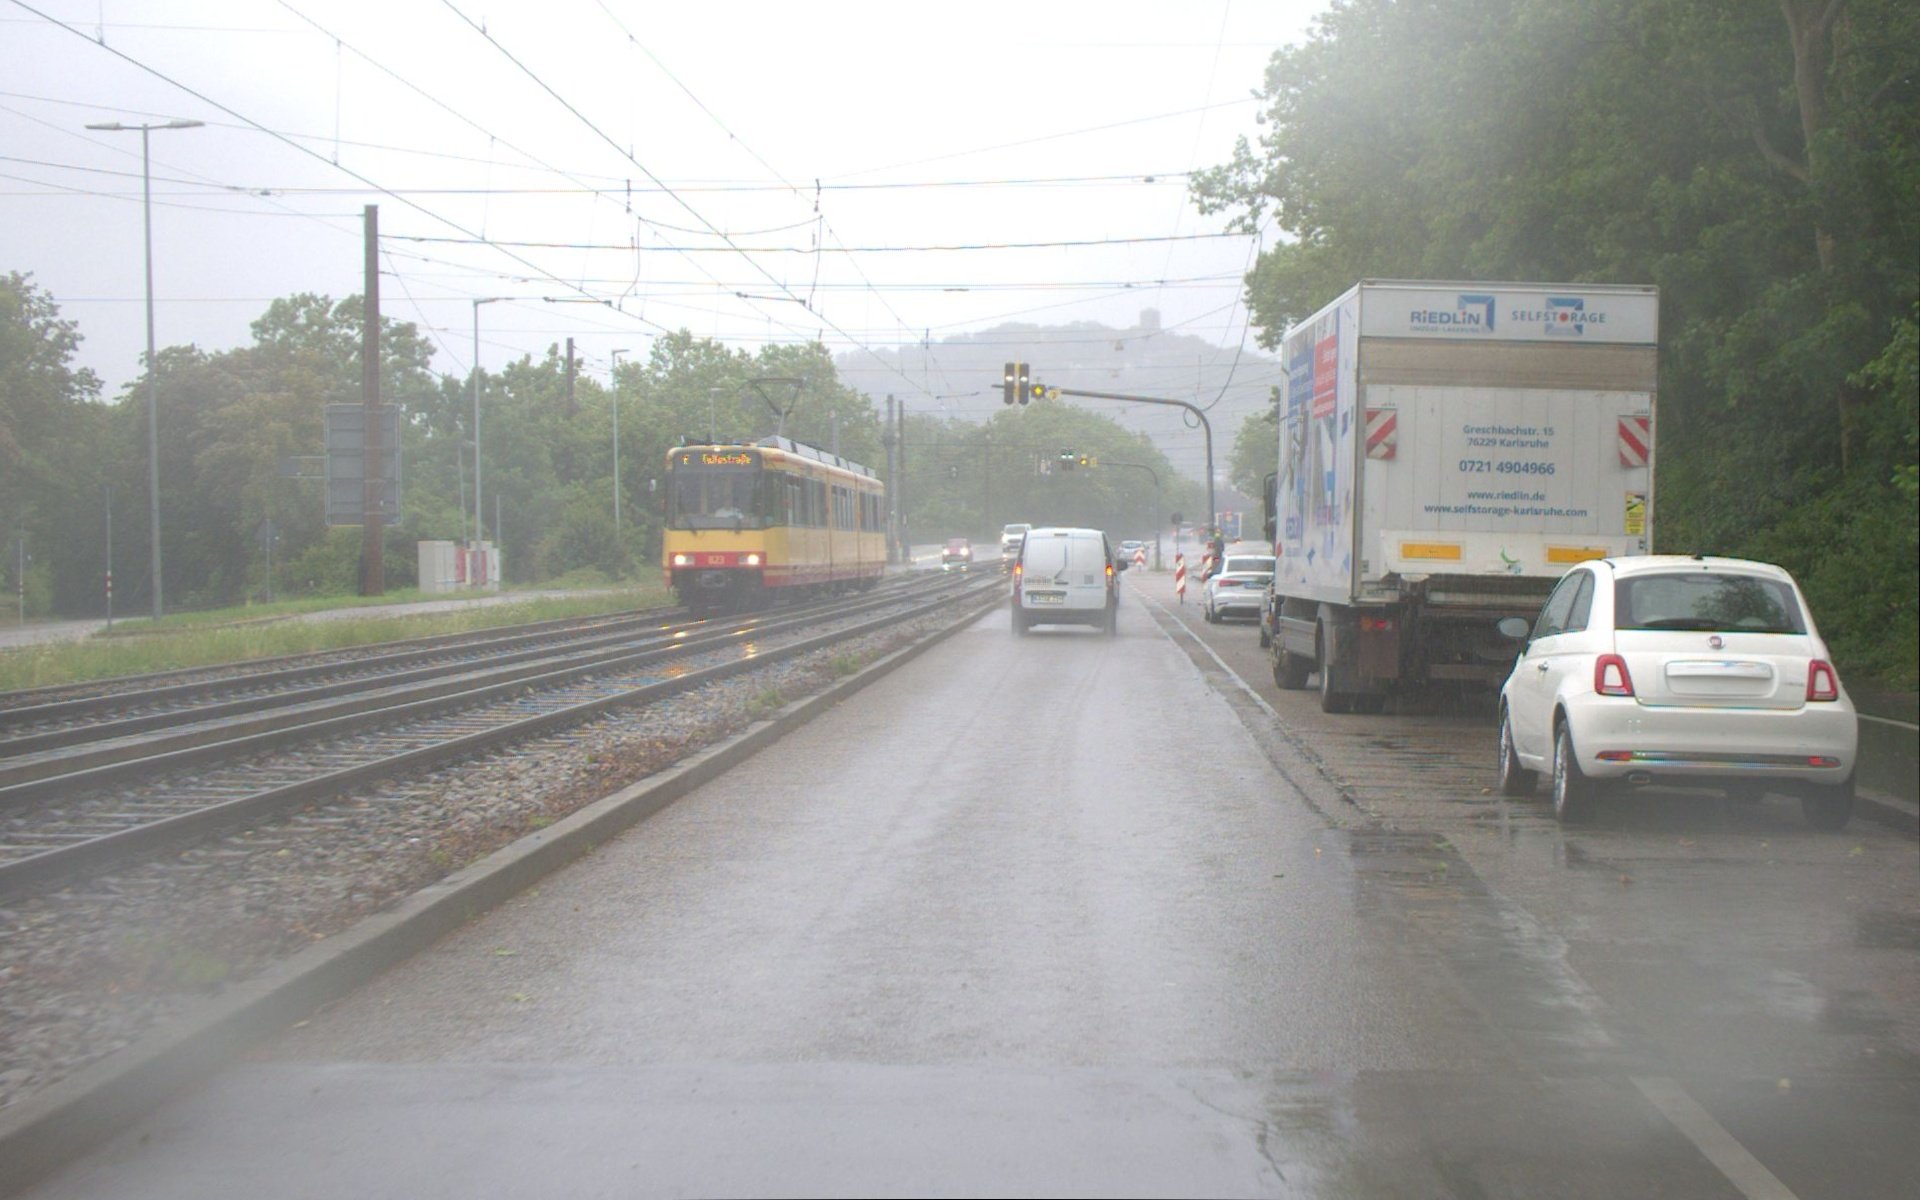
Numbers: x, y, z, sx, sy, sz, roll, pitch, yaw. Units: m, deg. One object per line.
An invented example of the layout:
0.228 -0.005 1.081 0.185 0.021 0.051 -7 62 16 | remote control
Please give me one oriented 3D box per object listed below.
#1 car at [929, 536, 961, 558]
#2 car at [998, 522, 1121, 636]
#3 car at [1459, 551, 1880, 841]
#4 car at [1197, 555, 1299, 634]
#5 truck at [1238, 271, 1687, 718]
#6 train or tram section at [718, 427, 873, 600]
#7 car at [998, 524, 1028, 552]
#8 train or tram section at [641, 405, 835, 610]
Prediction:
-0.950 -3.349 217.968 1.819 1.393 4.000 0 1 2 | car
1.652 -0.369 58.283 1.993 1.842 4.000 0 1 1 | car
4.054 0.481 20.245 1.713 1.524 4.000 0 1 1 | car
5.838 -0.147 70.082 1.819 1.481 4.480 2 1 2 | car
4.576 -0.898 33.521 2.775 3.691 9.853 1 0 -1 | truck
-4.117 -2.147 89.130 2.806 4.135 13.018 1 1 2 | train or tram section
3.953 -4.626 256.022 1.994 2.007 3.999 1 0 3 | car
-4.731 -1.970 76.108 2.807 4.135 13.018 1 1 3 | train or tram section
